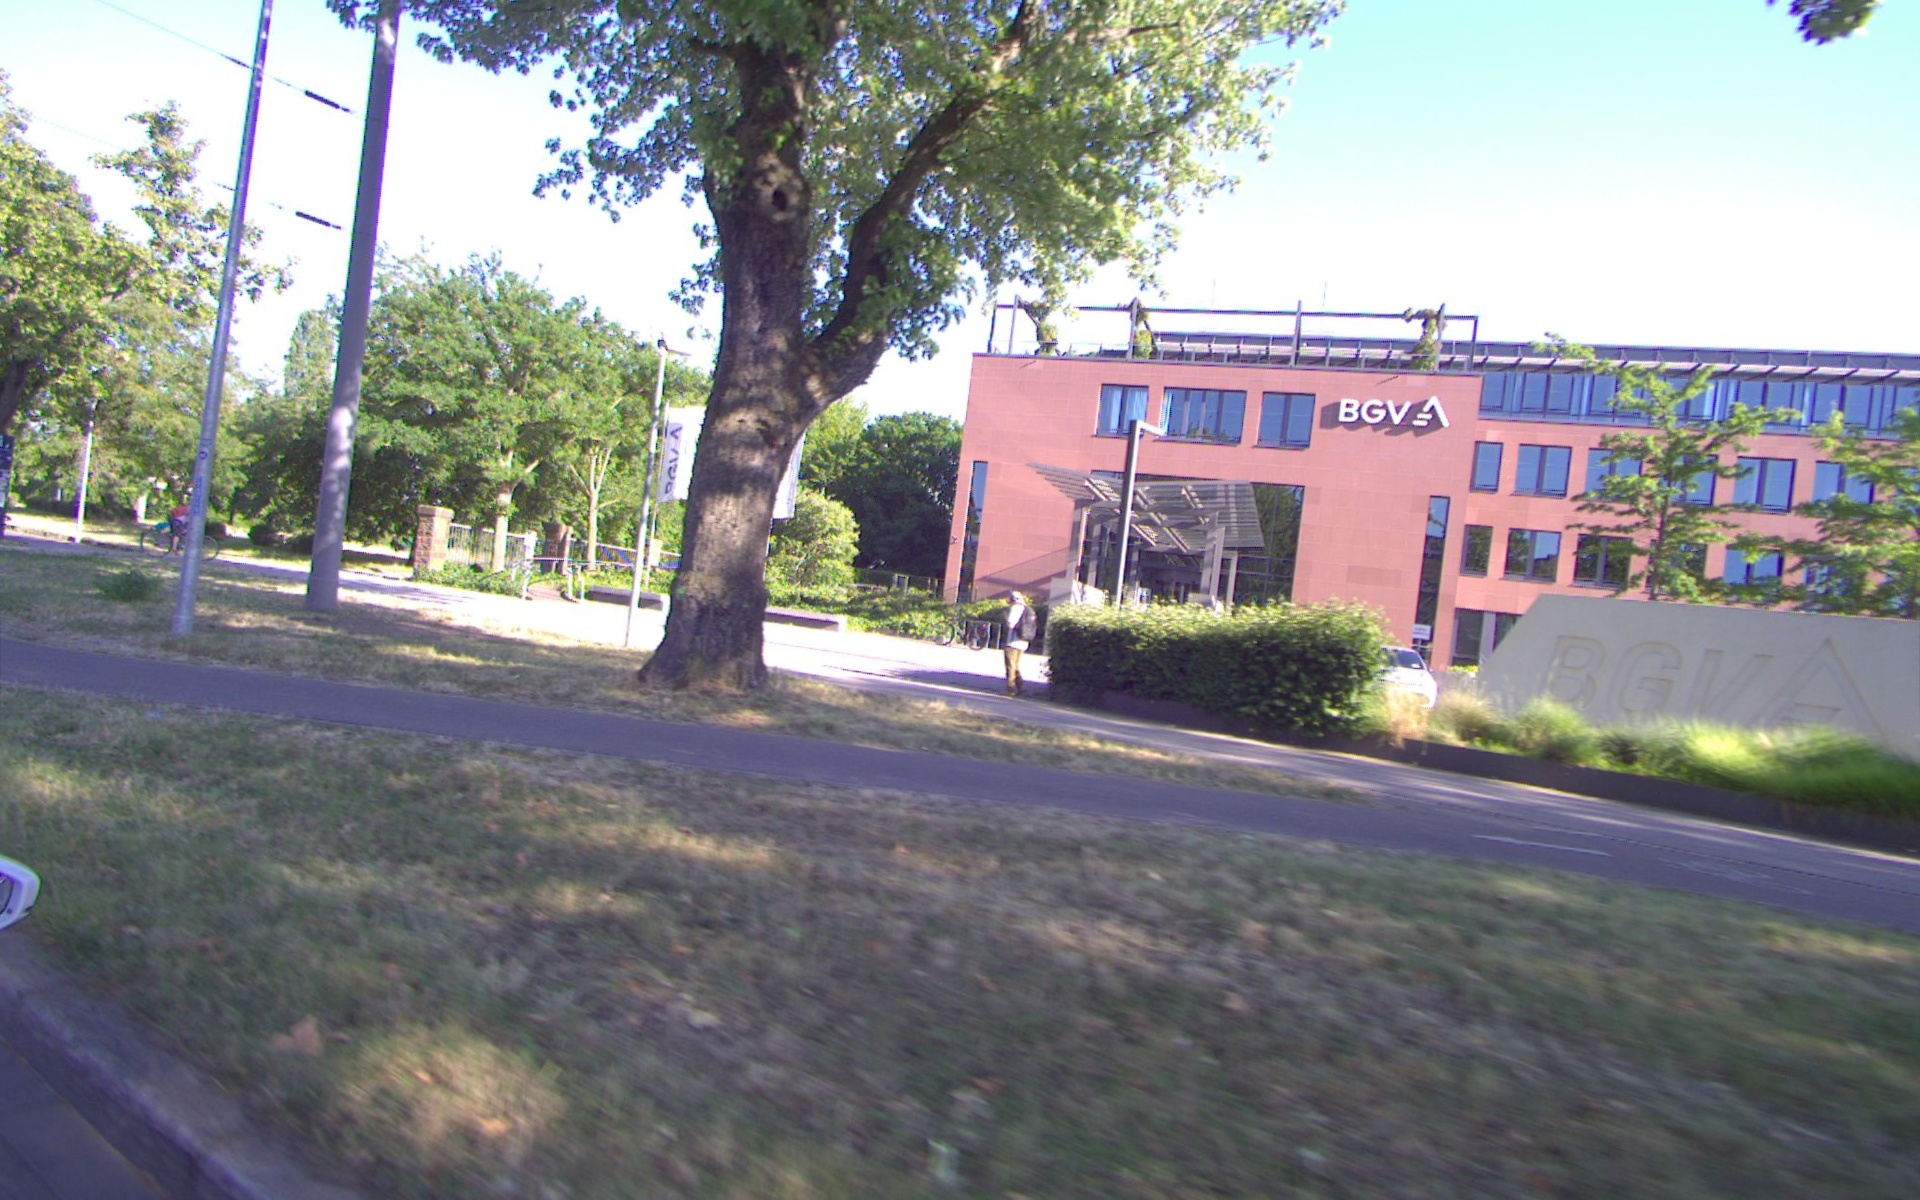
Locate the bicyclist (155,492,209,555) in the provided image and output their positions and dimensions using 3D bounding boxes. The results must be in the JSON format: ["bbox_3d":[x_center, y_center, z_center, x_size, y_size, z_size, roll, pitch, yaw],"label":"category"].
[{"bbox_3d":[-20.871,-2.053,26.990,0.756,1.514,0.902,7,0,42],"label":"bicyclist"}]

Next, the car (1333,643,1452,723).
[{"bbox_3d":[10.698,1.985,25.200,1.962,1.525,4.175,7,0,14],"label":"car"}]

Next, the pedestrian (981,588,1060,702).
[{"bbox_3d":[0.882,0.657,14.656,0.771,1.559,0.650,7,1,35],"label":"pedestrian"}]

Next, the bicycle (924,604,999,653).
[{"bbox_3d":[0.031,0.799,28.801,1.898,1.170,0.821,6,0,35],"label":"bicycle"}]

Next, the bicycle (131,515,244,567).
[{"bbox_3d":[-20.801,-1.580,27.126,0.756,1.053,2.257,7,-1,42],"label":"bicycle"}]
